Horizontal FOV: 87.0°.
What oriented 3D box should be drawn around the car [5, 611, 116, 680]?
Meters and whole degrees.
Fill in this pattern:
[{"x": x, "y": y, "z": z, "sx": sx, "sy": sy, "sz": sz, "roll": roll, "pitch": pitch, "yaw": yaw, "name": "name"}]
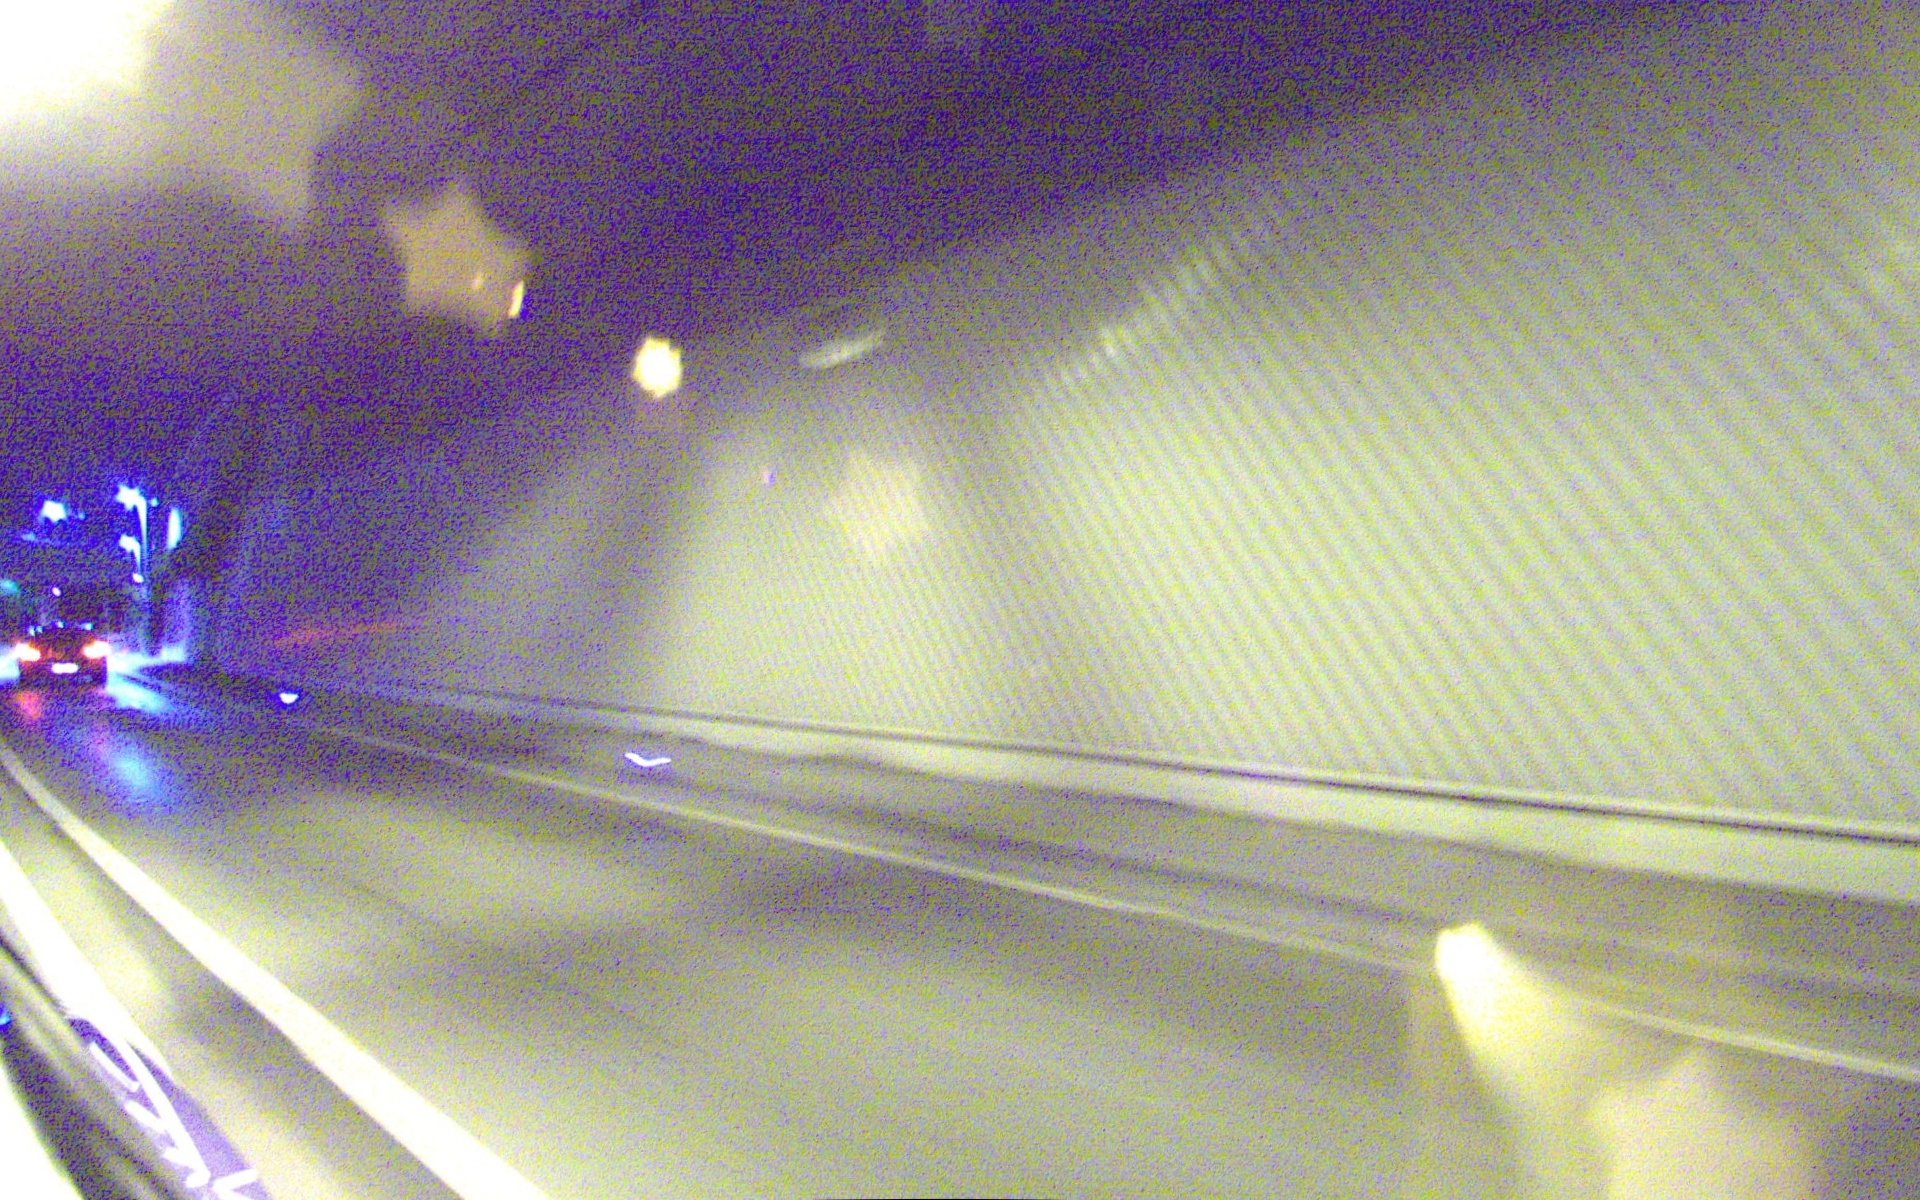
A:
[{"x": -22.182, "y": 1.051, "z": 24.907, "sx": 4.395, "sy": 1.453, "sz": 1.697, "roll": -1, "pitch": 2, "yaw": 45, "name": "car"}]
